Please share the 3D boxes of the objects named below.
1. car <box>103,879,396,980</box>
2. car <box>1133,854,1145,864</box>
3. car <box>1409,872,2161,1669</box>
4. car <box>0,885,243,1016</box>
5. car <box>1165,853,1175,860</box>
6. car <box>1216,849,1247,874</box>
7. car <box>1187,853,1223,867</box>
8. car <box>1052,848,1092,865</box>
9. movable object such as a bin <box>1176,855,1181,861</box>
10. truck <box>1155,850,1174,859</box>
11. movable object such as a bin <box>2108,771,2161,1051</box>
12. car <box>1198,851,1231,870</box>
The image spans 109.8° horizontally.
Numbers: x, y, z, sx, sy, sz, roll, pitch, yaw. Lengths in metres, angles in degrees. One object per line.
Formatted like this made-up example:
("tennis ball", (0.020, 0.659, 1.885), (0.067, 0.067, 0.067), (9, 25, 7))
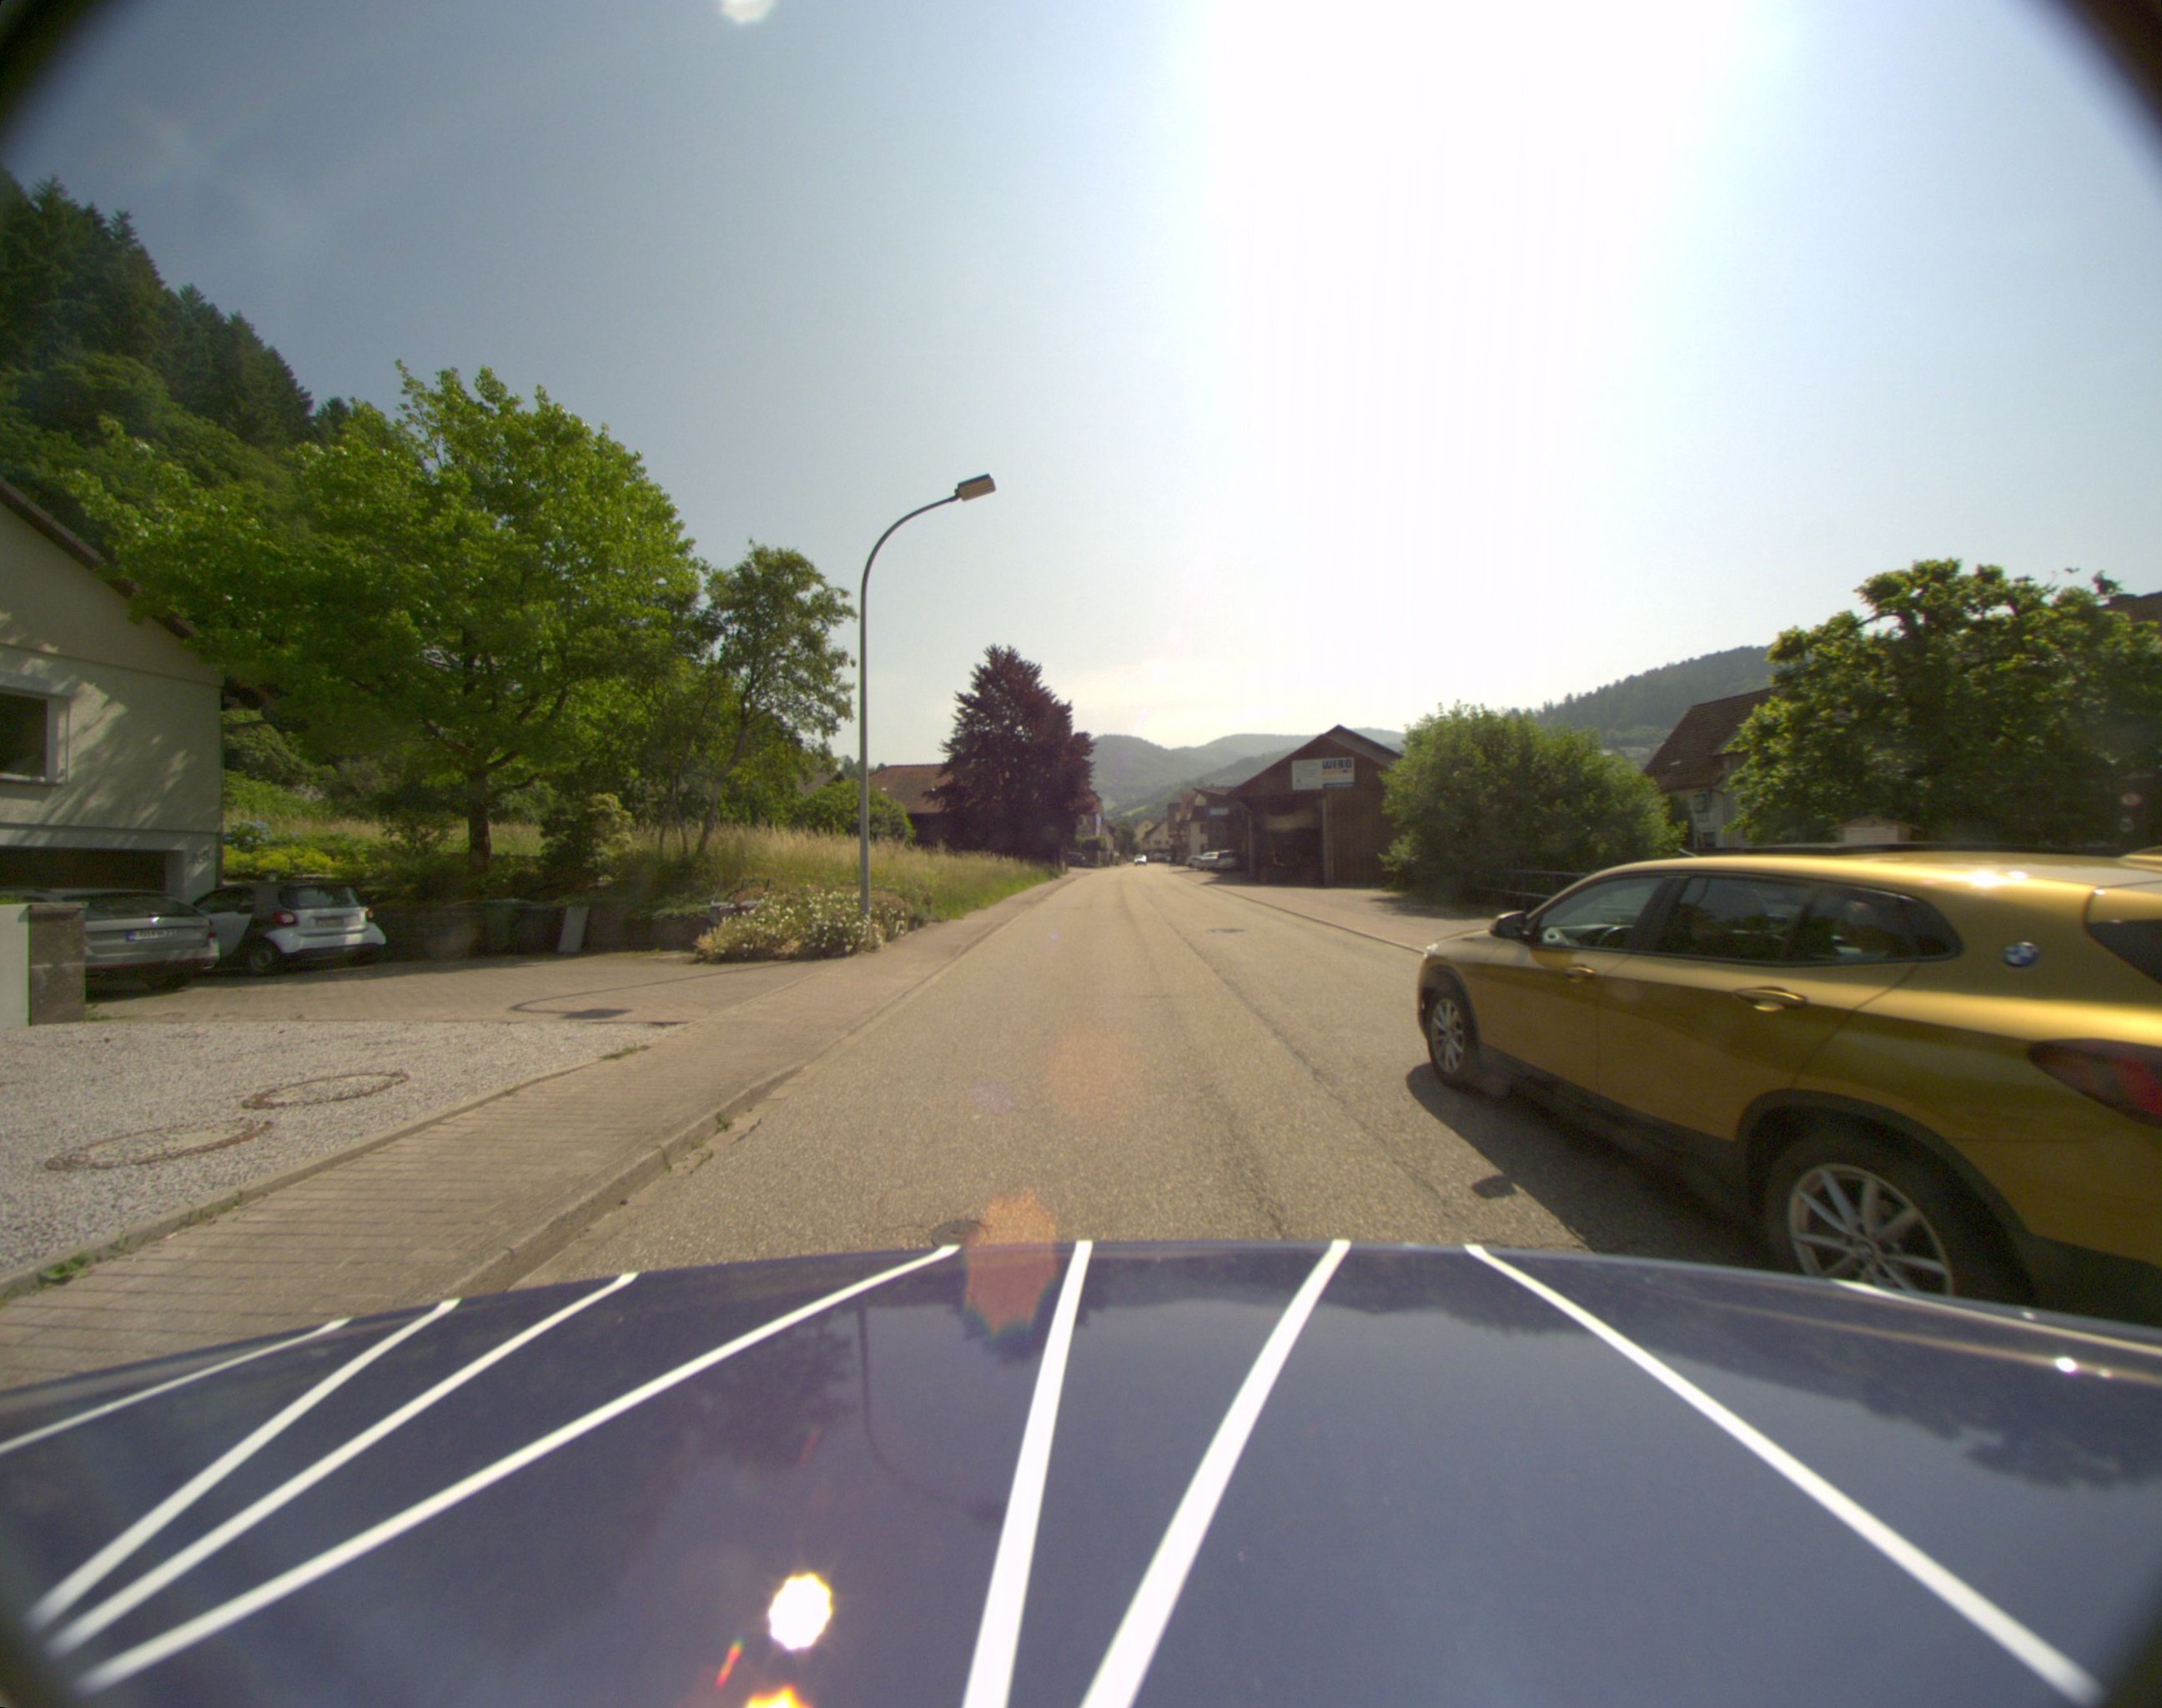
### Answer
("car", (-13.981, 1.244, 12.895), (3.225, 1.489, 1.755), (-1, 0, 7))
("car", (9.679, 0.817, 126.811), (1.998, 1.672, 4.001), (0, 0, 4))
("car", (3.127, 0.879, 3.185), (1.818, 1.492, 4.149), (0, 0, 2))
("car", (-13.739, 1.225, 10.077), (3.741, 1.462, 1.724), (-2, 1, 9))
("car", (20.029, 0.484, 171.121), (1.774, 1.544, 4.287), (-2, 0, 4))
("car", (10.464, 0.524, 52.653), (1.583, 1.560, 4.028), (-4, -1, 18))
("car", (14.126, 0.687, 86.630), (3.661, 1.378, 1.714), (3, 1, 22))
("car", (-1.052, 0.301, 87.771), (4.227, 1.677, 1.778), (4, 1, 10))
("movable object such as a bin", (15.259, 0.621, 119.064), (0.677, 1.060, 0.621), (-1, 0, 5))
("truck", (20.267, 0.134, 184.283), (4.176, 2.253, 2.000), (-2, 0, 1))
("movable object such as a bin", (8.903, 0.415, 5.246), (1.138, 2.060, 2.120), (-1, 1, -37))
("car", (10.896, 0.547, 61.808), (1.731, 1.445, 4.812), (-2, -1, 20))
